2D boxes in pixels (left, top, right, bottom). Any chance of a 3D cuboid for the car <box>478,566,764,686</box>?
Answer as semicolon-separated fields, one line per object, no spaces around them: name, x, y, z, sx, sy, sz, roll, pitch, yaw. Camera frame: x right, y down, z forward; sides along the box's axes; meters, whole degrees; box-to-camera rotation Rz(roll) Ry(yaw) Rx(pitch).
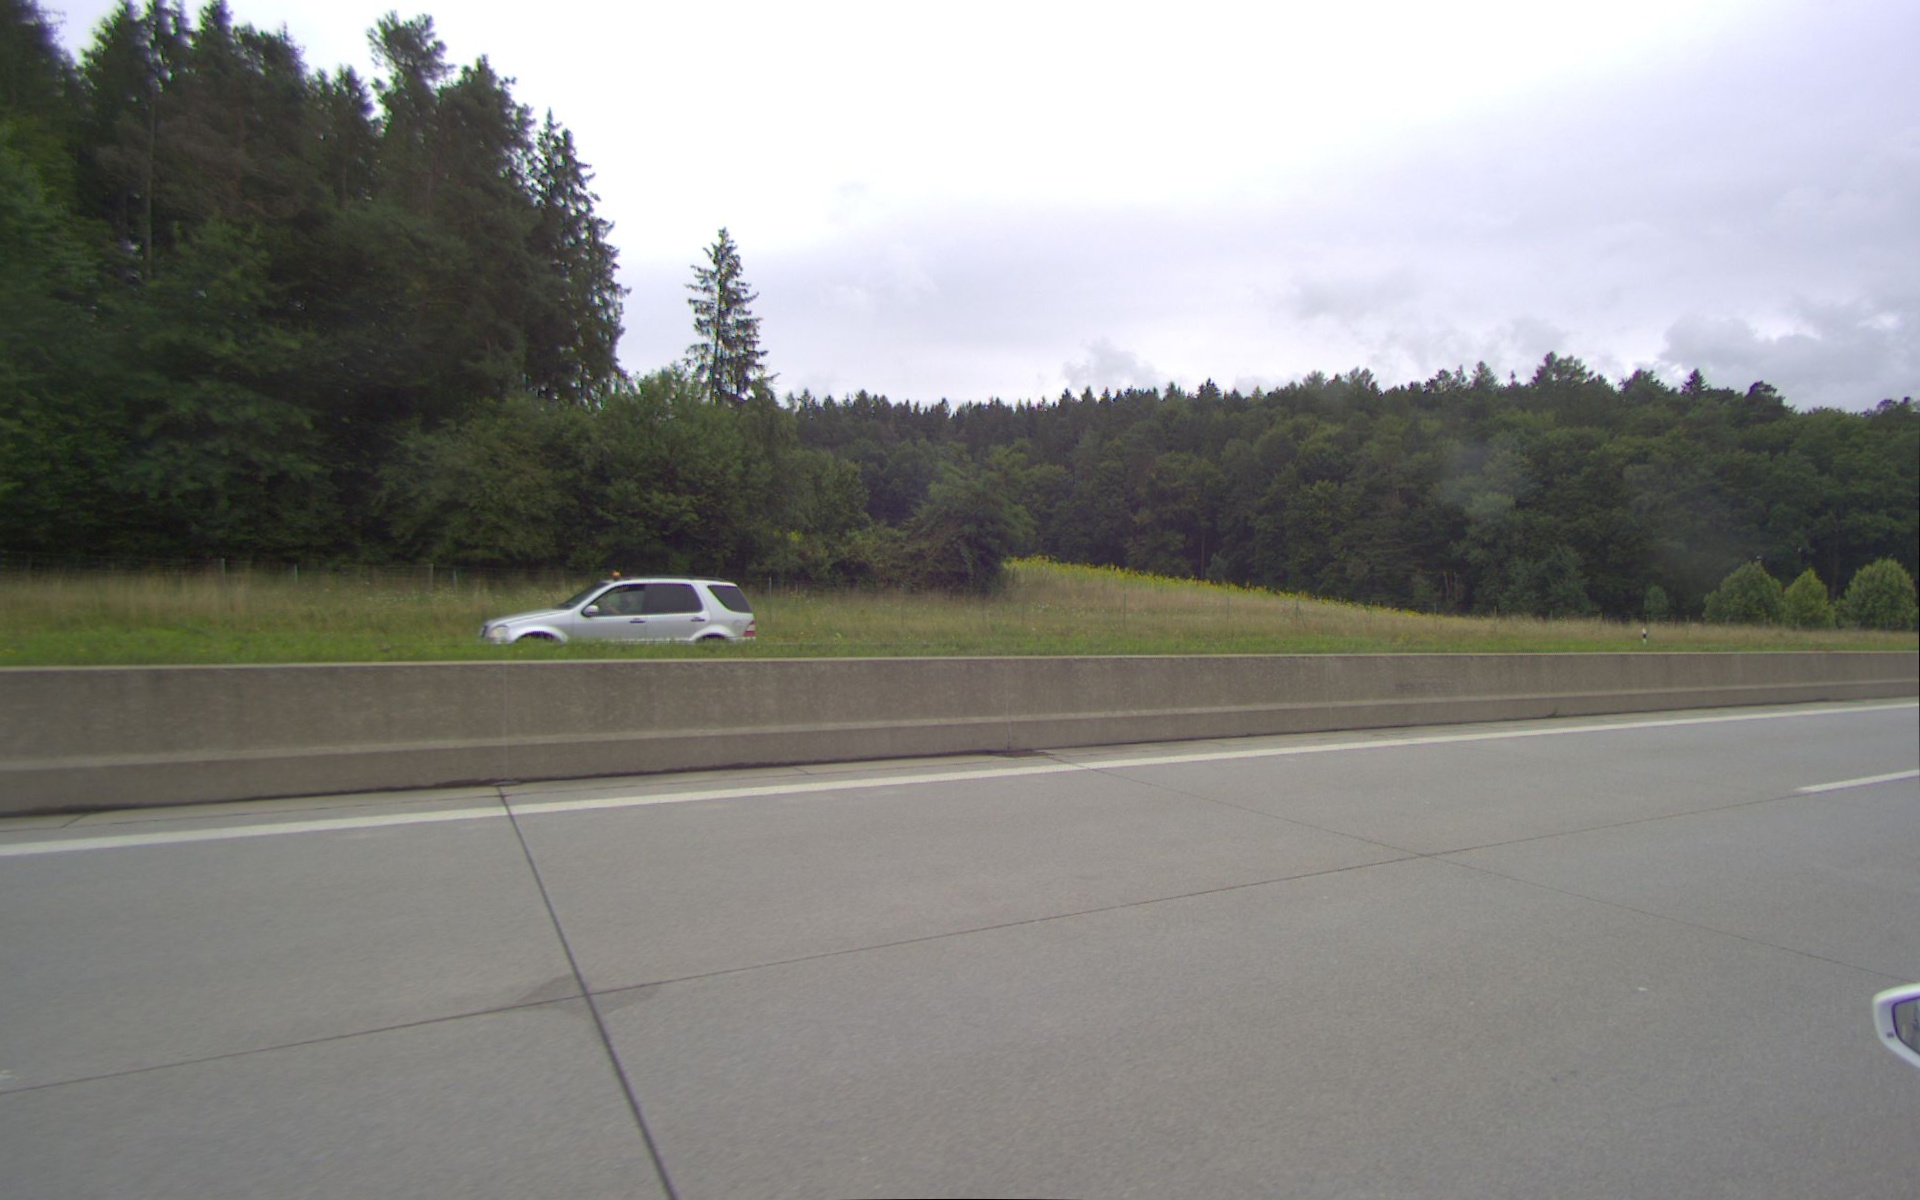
car;-5.768;0.413;17.180;4.340;1.824;1.984;1;0;-30
